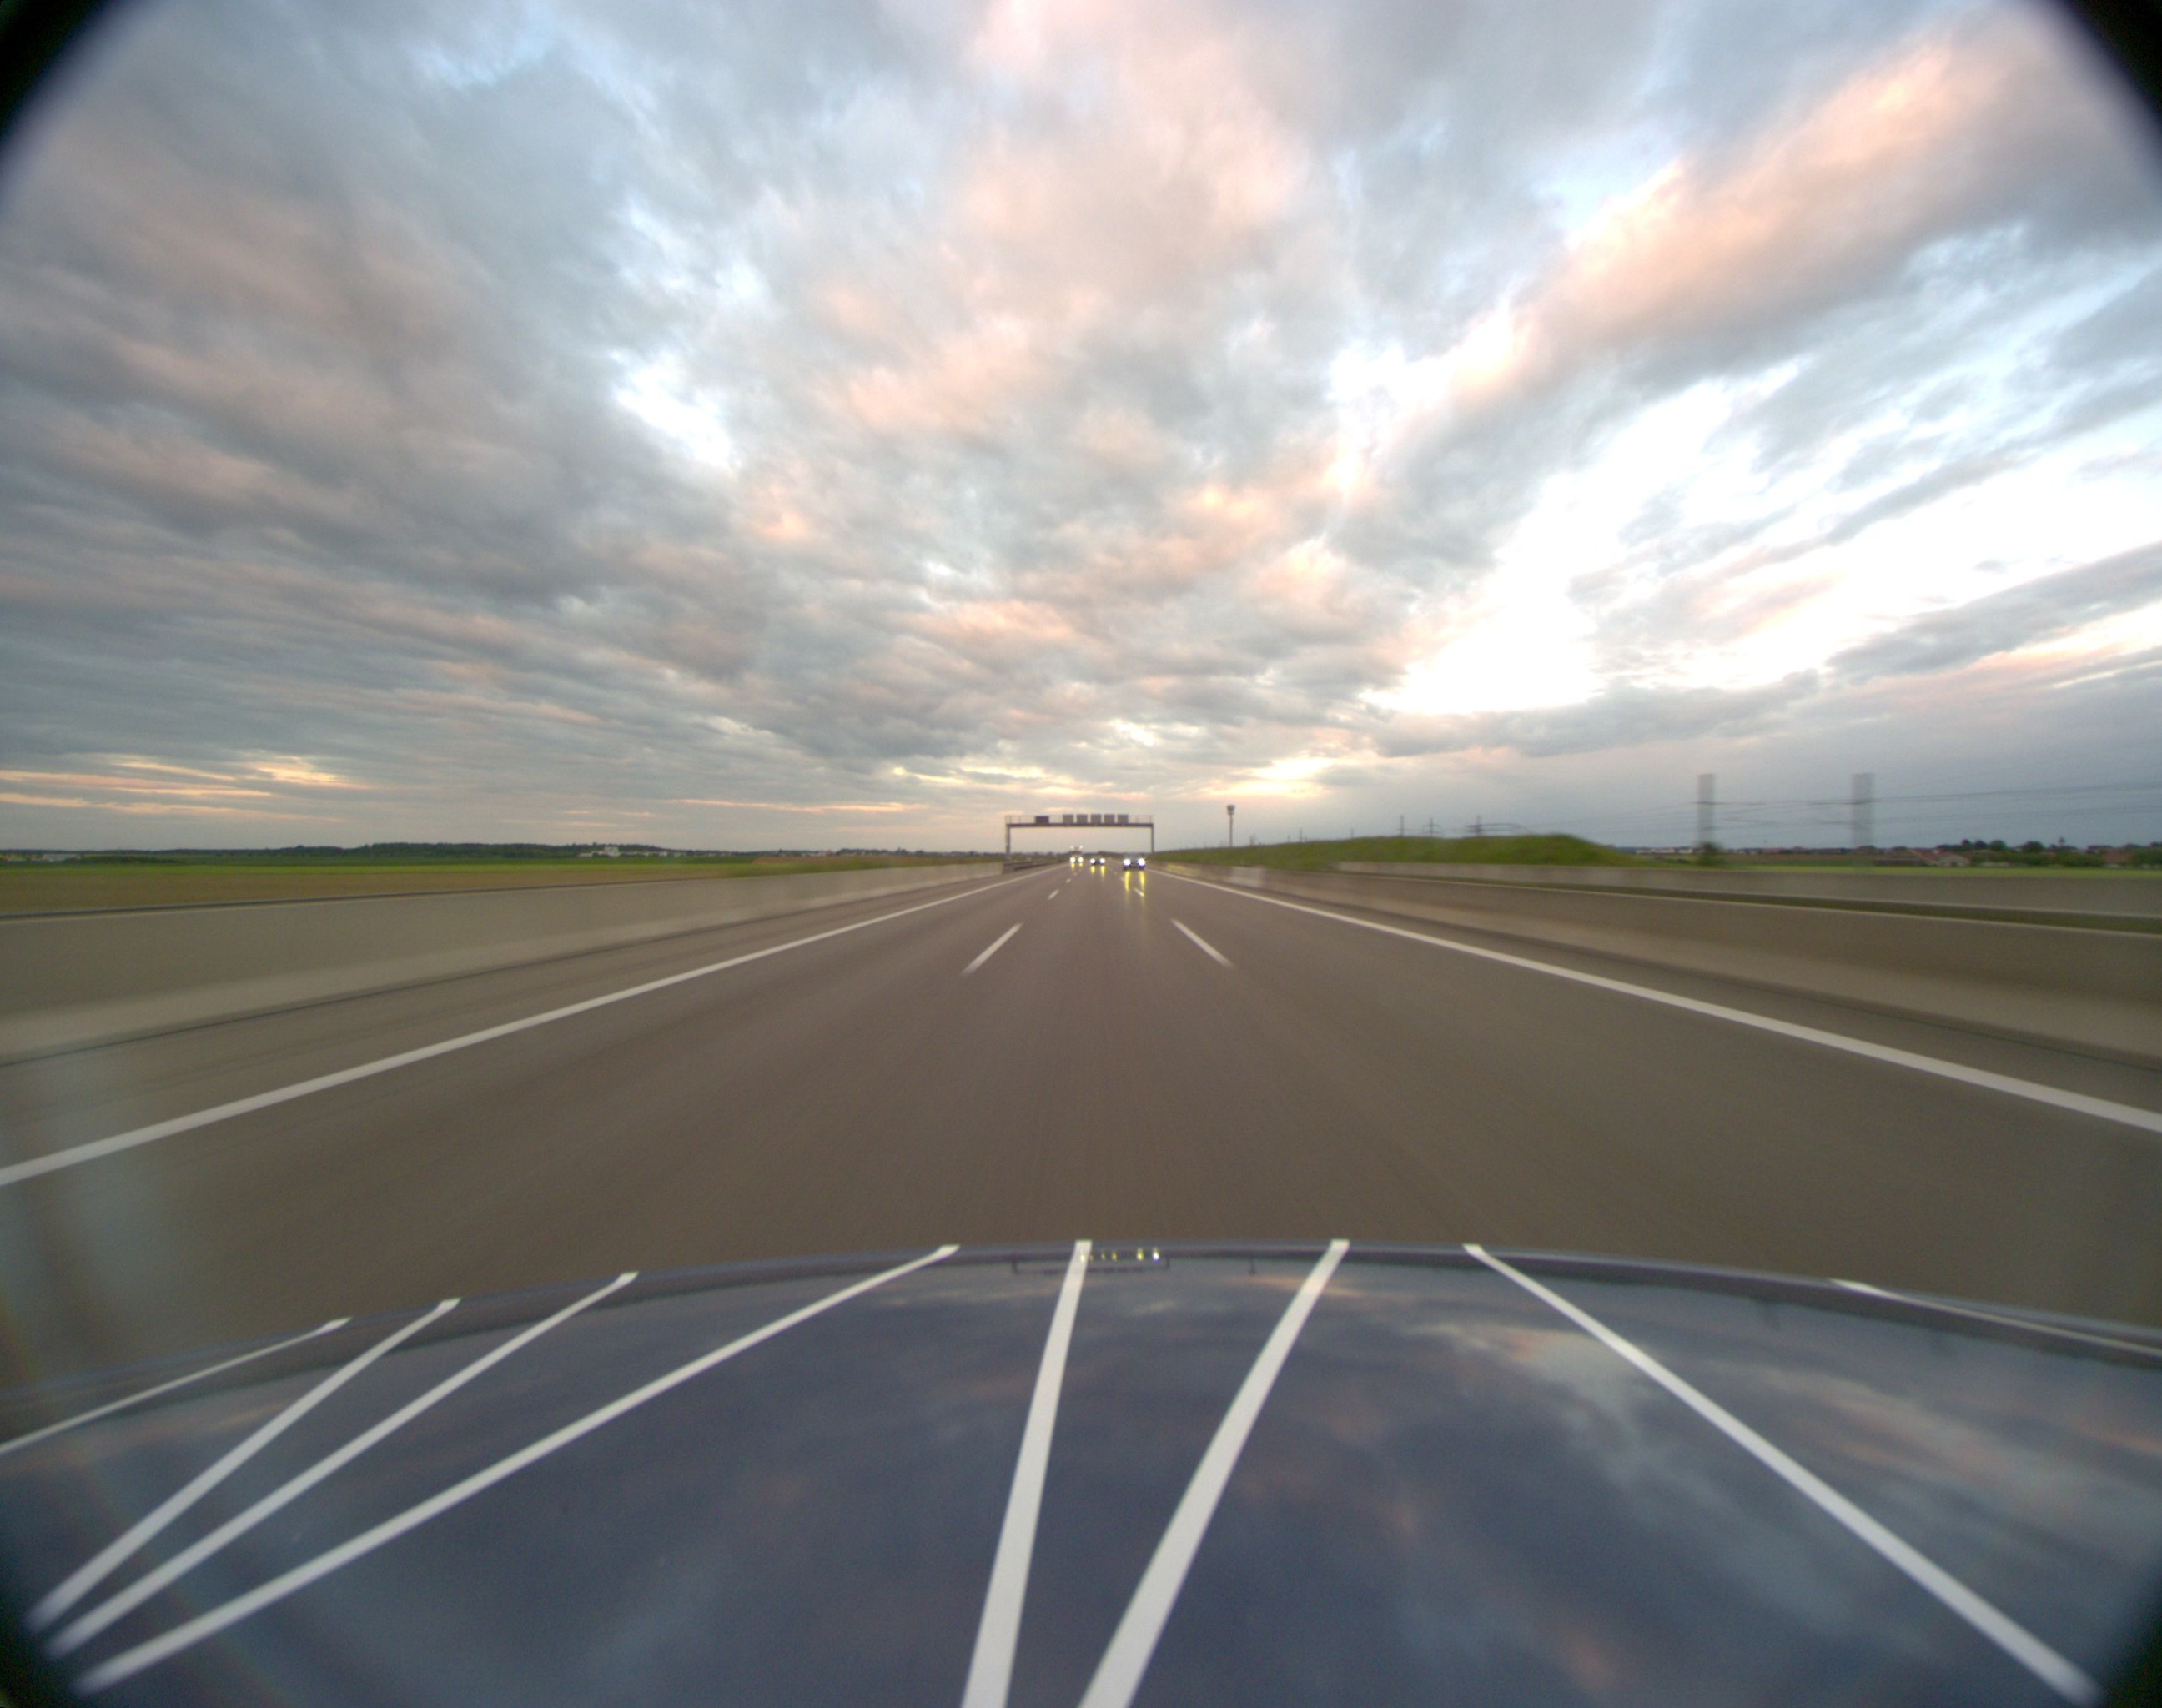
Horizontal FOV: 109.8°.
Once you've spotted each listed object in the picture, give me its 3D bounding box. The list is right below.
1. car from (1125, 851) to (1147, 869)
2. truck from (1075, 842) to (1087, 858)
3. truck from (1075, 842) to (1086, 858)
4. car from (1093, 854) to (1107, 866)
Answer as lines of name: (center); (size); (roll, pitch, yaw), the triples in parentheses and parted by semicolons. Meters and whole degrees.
car: (5.576, 0.600, 77.698); (1.998, 1.652, 4.000); (-3, 0, 2)
truck: (0.006, -0.929, 195.969); (2.596, 3.999, 12.986); (-1, 0, 1)
truck: (-0.149, -0.947, 189.742); (2.596, 3.999, 5.860); (-1, 0, 1)
car: (2.914, 0.867, 115.929); (1.998, 1.652, 4.851); (-3, 0, 2)
